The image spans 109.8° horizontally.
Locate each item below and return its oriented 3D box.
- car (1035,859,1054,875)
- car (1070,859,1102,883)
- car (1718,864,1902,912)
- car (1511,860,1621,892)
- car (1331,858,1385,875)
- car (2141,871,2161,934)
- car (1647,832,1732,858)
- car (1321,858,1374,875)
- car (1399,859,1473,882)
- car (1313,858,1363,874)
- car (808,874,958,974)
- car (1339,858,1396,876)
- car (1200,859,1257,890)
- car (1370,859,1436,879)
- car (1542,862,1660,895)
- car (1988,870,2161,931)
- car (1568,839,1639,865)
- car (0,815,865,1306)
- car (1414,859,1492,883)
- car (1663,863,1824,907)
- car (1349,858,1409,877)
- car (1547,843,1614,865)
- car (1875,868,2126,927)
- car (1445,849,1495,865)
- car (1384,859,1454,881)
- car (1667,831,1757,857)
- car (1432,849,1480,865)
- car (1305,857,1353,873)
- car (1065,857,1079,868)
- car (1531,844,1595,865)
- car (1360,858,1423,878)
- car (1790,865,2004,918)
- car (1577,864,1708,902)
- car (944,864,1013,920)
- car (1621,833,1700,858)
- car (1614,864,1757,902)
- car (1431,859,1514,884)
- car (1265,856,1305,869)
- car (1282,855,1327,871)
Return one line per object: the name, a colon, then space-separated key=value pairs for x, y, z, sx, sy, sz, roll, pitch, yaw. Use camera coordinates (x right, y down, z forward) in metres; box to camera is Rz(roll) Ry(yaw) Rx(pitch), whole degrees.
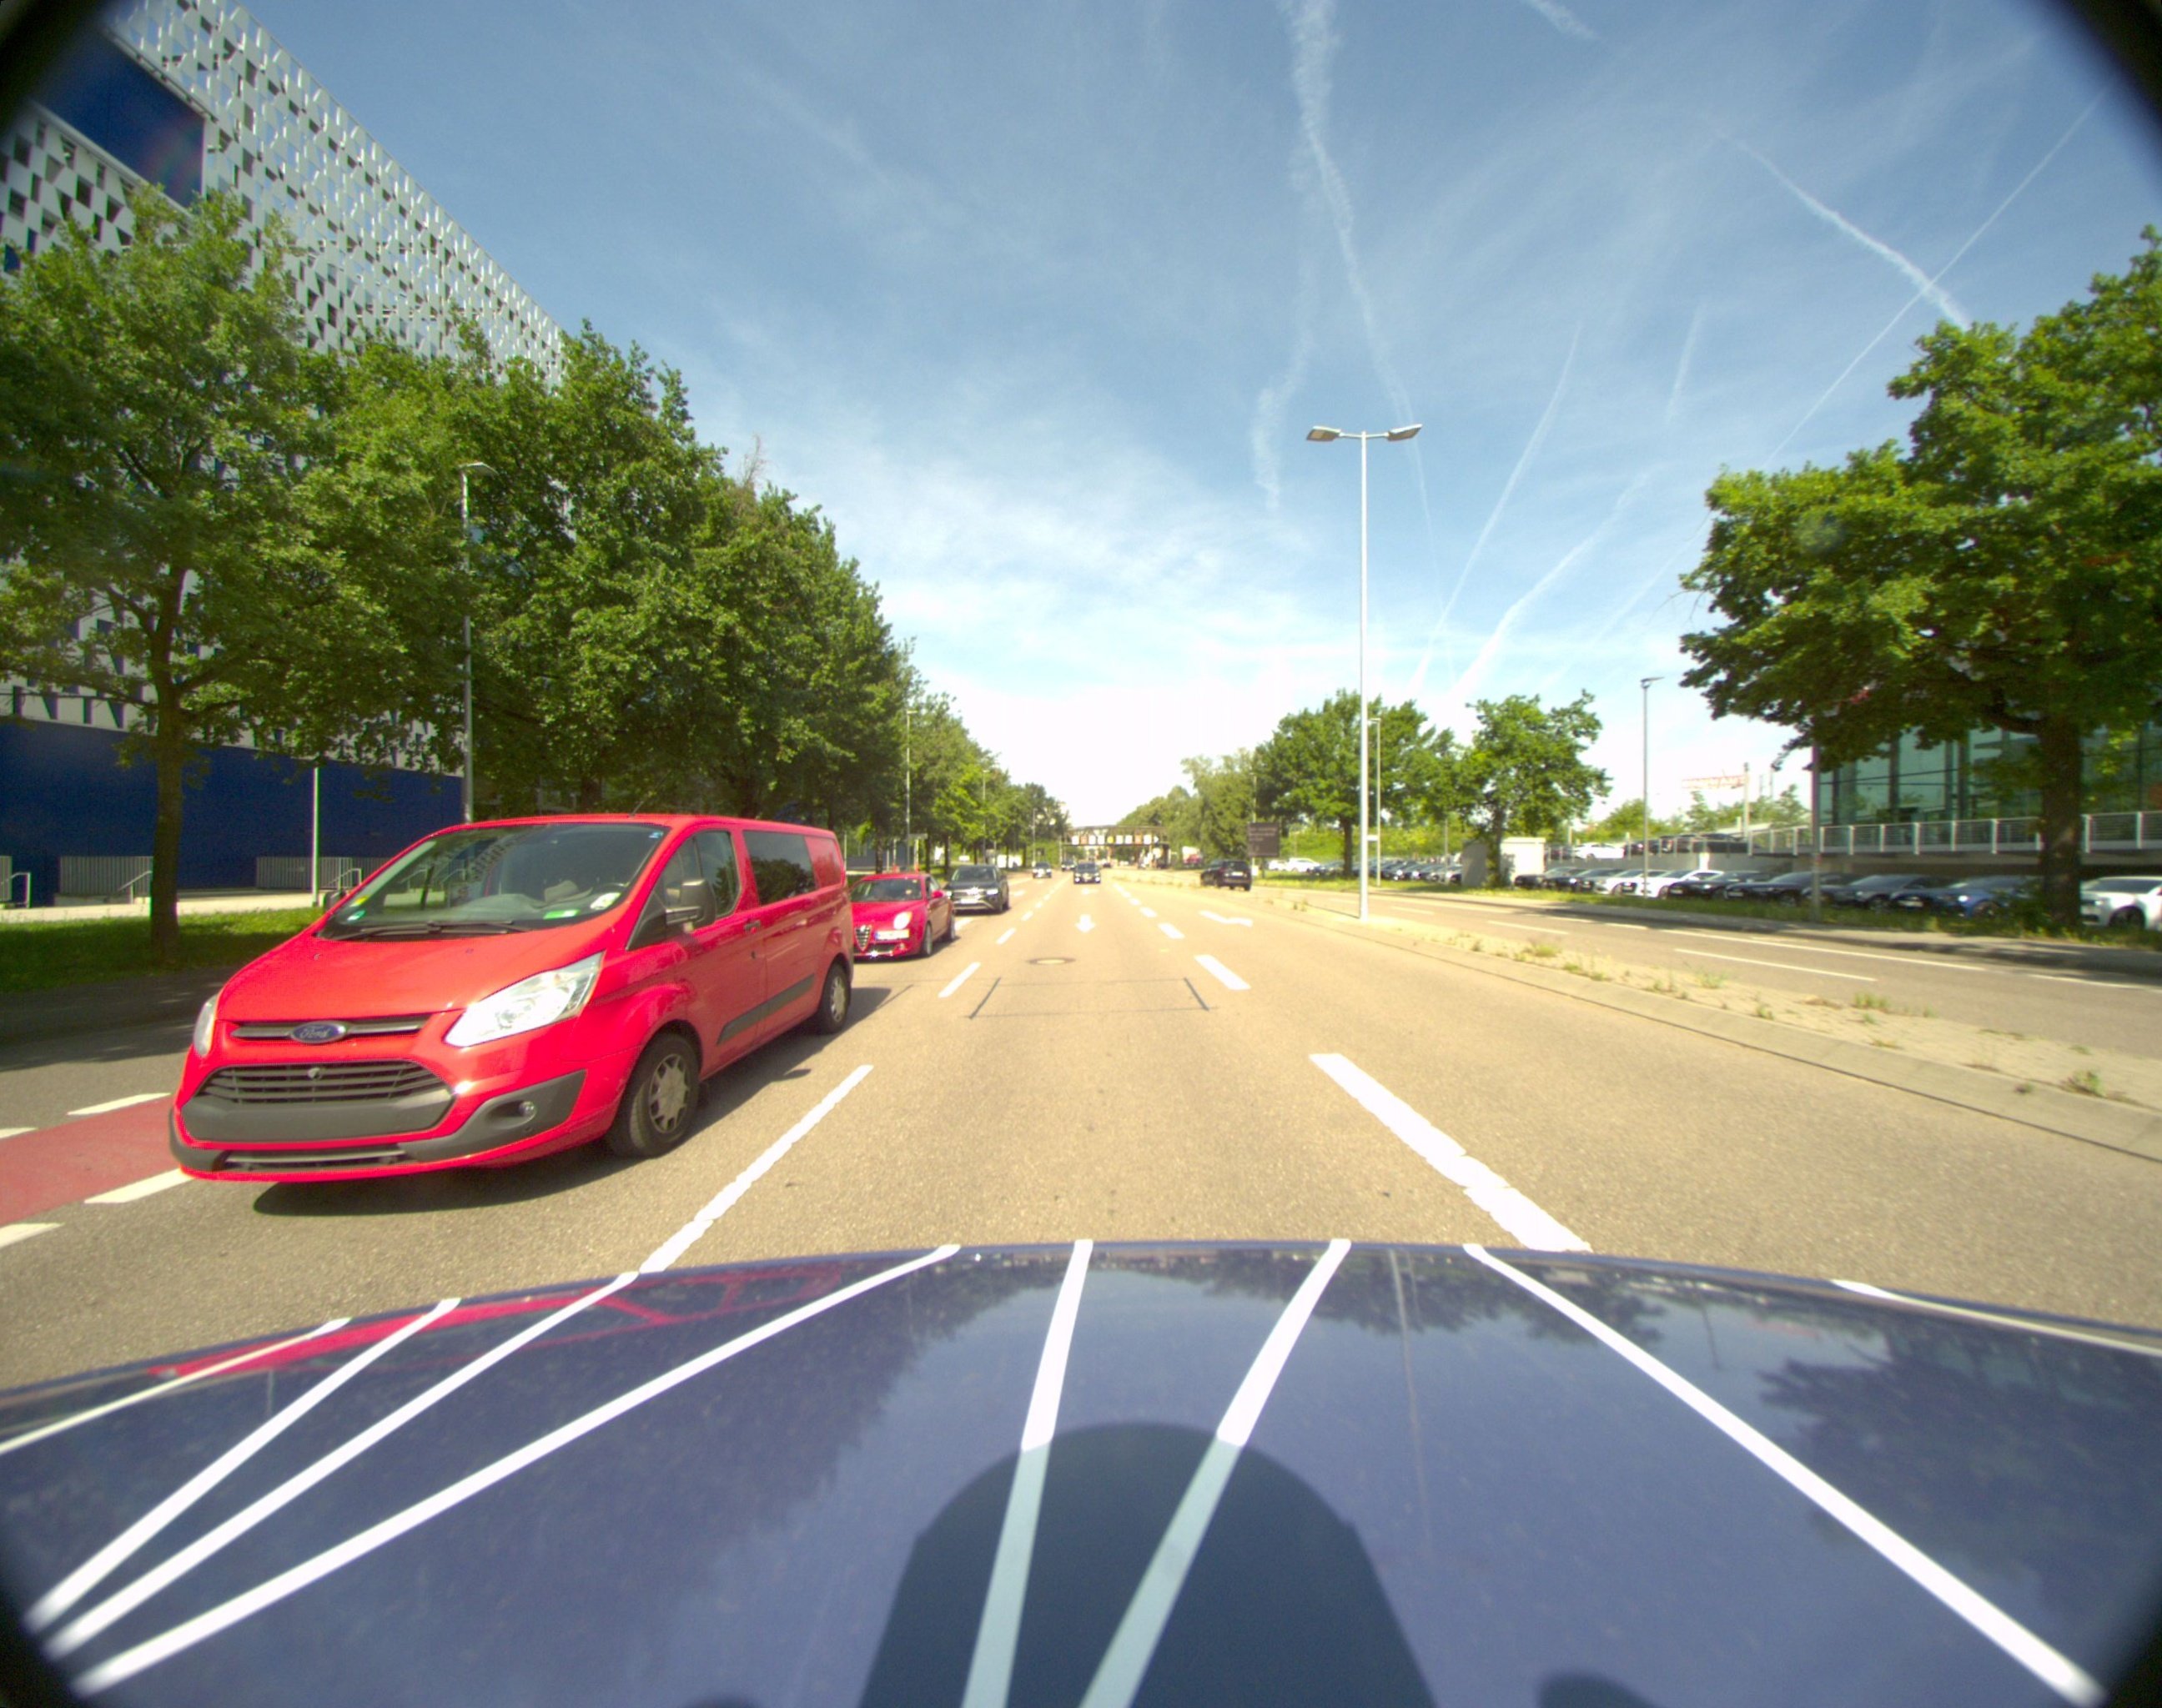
car: x=-3.534 y=1.263 z=74.224 sx=1.649 sy=1.453 sz=4.000 roll=-2 pitch=0 yaw=-1
car: x=0.299 y=1.153 z=53.521 sx=1.883 sy=1.513 sz=4.867 roll=-2 pitch=0 yaw=-4
car: x=23.424 y=1.072 z=24.516 sx=4.196 sy=1.252 sz=1.690 roll=3 pitch=0 yaw=2
car: x=23.753 y=1.080 z=37.314 sx=4.196 sy=1.315 sz=1.690 roll=3 pitch=0 yaw=2
car: x=24.754 y=1.108 z=67.951 sx=4.196 sy=1.315 sz=1.690 roll=3 pitch=0 yaw=2
car: x=23.371 y=1.070 z=14.343 sx=4.196 sy=1.239 sz=1.690 roll=3 pitch=0 yaw=2
car: x=40.566 y=-0.612 z=50.686 sx=4.196 sy=1.490 sz=1.690 roll=3 pitch=0 yaw=2
car: x=24.700 y=1.144 z=70.498 sx=4.196 sy=1.315 sz=1.690 roll=3 pitch=0 yaw=2
car: x=24.113 y=1.091 z=51.711 sx=4.196 sy=1.315 sz=1.690 roll=3 pitch=0 yaw=2
car: x=24.635 y=1.121 z=72.999 sx=4.196 sy=1.315 sz=1.690 roll=3 pitch=0 yaw=2
car: x=-3.377 y=1.135 z=13.702 sx=1.692 sy=1.414 sz=3.915 roll=-1 pitch=0 yaw=-1
car: x=24.583 y=1.124 z=65.266 sx=4.196 sy=1.315 sz=1.690 roll=3 pitch=0 yaw=2
car: x=7.495 y=1.041 z=39.096 sx=1.867 sy=1.503 sz=3.998 roll=1 pitch=0 yaw=-5
car: x=24.227 y=1.110 z=57.184 sx=4.196 sy=1.315 sz=1.690 roll=3 pitch=0 yaw=2
car: x=23.782 y=1.113 z=34.845 sx=4.196 sy=1.239 sz=1.690 roll=3 pitch=0 yaw=2
car: x=23.292 y=1.064 z=16.841 sx=4.196 sy=1.188 sz=1.690 roll=3 pitch=0 yaw=2
car: x=40.255 y=-0.150 z=58.610 sx=4.196 sy=1.722 sz=1.690 roll=3 pitch=0 yaw=2
car: x=-3.262 y=0.831 z=5.424 sx=2.014 sy=1.896 sz=4.810 roll=-2 pitch=0 yaw=0
car: x=24.159 y=1.091 z=49.496 sx=4.196 sy=1.315 sz=1.690 roll=3 pitch=0 yaw=2
car: x=23.576 y=1.066 z=27.152 sx=4.196 sy=1.291 sz=1.690 roll=3 pitch=0 yaw=2
car: x=24.575 y=1.097 z=62.729 sx=4.196 sy=1.315 sz=1.690 roll=3 pitch=0 yaw=2
car: x=40.279 y=0.003 z=61.269 sx=4.196 sy=1.490 sz=1.690 roll=3 pitch=0 yaw=2
car: x=23.197 y=1.063 z=19.296 sx=4.196 sy=1.198 sz=1.690 roll=3 pitch=0 yaw=2
car: x=40.583 y=0.288 z=79.306 sx=4.196 sy=1.490 sz=1.690 roll=3 pitch=0 yaw=2
car: x=24.272 y=1.119 z=54.605 sx=4.196 sy=1.315 sz=1.690 roll=3 pitch=0 yaw=2
car: x=39.880 y=-0.634 z=48.065 sx=4.196 sy=1.397 sz=1.690 roll=3 pitch=0 yaw=2
car: x=40.360 y=0.301 z=81.850 sx=4.196 sy=1.490 sz=1.690 roll=3 pitch=0 yaw=2
car: x=24.688 y=1.088 z=75.790 sx=4.196 sy=1.315 sz=1.690 roll=3 pitch=0 yaw=2
car: x=-1.260 y=1.258 z=108.651 sx=1.848 sy=1.530 sz=4.000 roll=0 pitch=0 yaw=0
car: x=40.287 y=0.024 z=63.603 sx=4.196 sy=1.490 sz=1.690 roll=3 pitch=0 yaw=2
car: x=24.334 y=1.097 z=59.715 sx=4.196 sy=1.315 sz=1.690 roll=3 pitch=0 yaw=2
car: x=23.317 y=1.044 z=21.821 sx=4.196 sy=1.247 sz=1.690 roll=3 pitch=0 yaw=2
car: x=23.748 y=1.215 z=32.245 sx=4.196 sy=1.317 sz=1.690 roll=3 pitch=0 yaw=2
car: x=-3.203 y=1.140 z=24.328 sx=1.649 sy=1.530 sz=4.000 roll=-3 pitch=0 yaw=-1
car: x=40.687 y=-0.575 z=53.418 sx=4.196 sy=1.490 sz=1.690 roll=3 pitch=0 yaw=2
car: x=23.652 y=1.116 z=29.840 sx=4.196 sy=1.248 sz=1.690 roll=3 pitch=0 yaw=2
car: x=24.125 y=1.067 z=46.950 sx=4.196 sy=1.315 sz=1.690 roll=3 pitch=0 yaw=2
car: x=23.858 y=0.987 z=89.020 sx=4.196 sy=1.370 sz=1.690 roll=3 pitch=0 yaw=2
car: x=23.860 y=0.993 z=81.234 sx=4.196 sy=1.490 sz=1.690 roll=3 pitch=0 yaw=2
